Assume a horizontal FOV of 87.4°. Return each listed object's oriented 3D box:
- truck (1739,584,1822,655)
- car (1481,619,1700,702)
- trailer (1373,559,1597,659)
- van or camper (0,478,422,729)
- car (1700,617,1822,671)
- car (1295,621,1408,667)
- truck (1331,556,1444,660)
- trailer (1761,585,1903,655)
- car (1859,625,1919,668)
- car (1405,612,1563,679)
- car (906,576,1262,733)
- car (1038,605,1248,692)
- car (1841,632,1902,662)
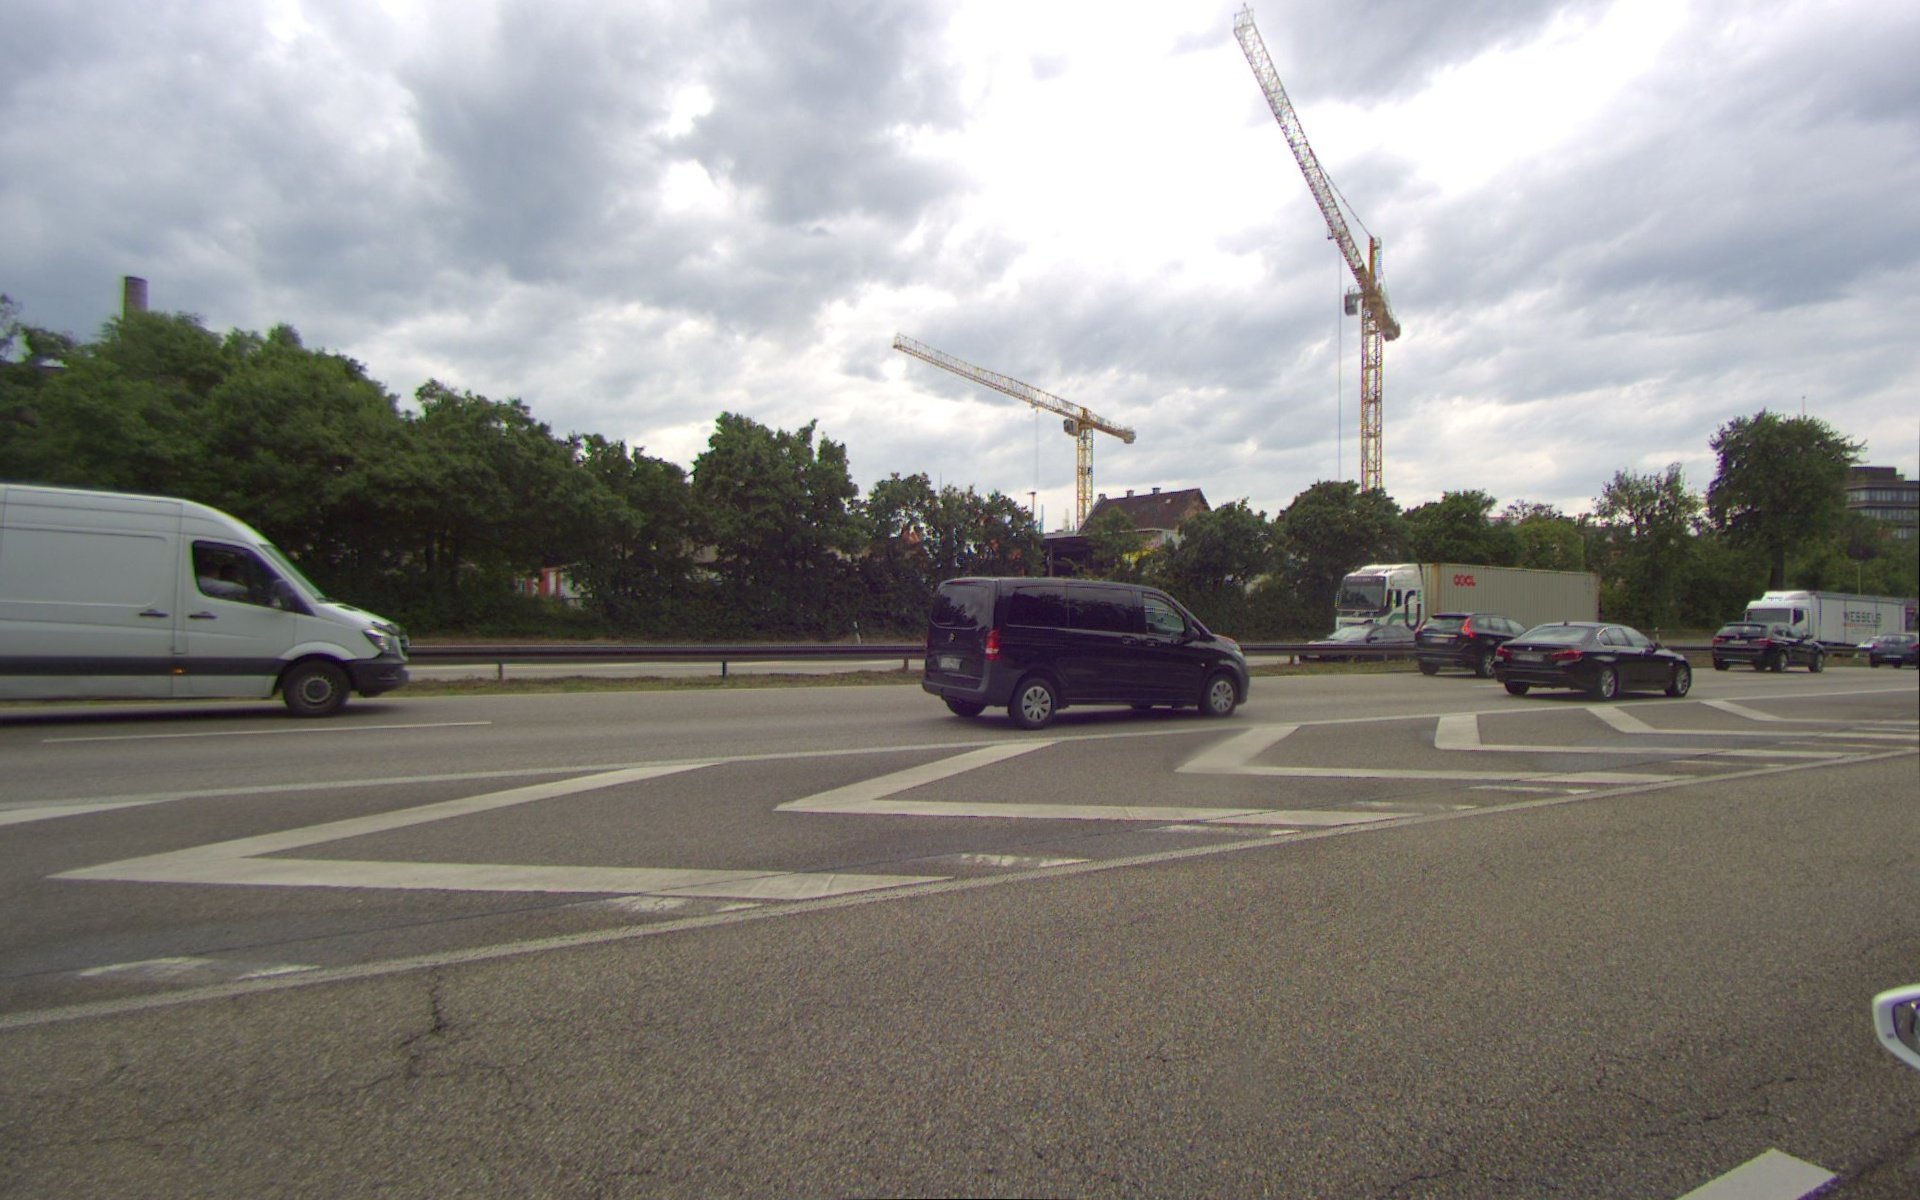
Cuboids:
[{"bbox_3d":[48.497,1.149,59.375,3.953,4.043,2.584,1,-1,-30],"label":"truck"},{"bbox_3d":[12.587,1.145,19.985,4.610,1.476,1.705,1,0,-29],"label":"car"},{"bbox_3d":[23.844,0.509,45.146,12.922,4.082,2.386,1,-1,-30],"label":"trailer"},{"bbox_3d":[-10.276,0.054,11.787,6.877,2.656,2.039,1,-1,-31],"label":"van or camper"},{"bbox_3d":[27.165,1.456,34.041,4.257,1.704,1.881,1,-1,-31],"label":"car"},{"bbox_3d":[13.395,1.484,34.315,3.719,1.483,1.679,1,-1,-30],"label":"car"},{"bbox_3d":[17.695,0.361,41.567,3.952,4.074,2.395,1,-1,-30],"label":"truck"},{"bbox_3d":[55.051,1.312,63.248,13.622,4.035,2.581,1,-1,-31],"label":"trailer"},{"bbox_3d":[39.168,1.905,41.675,3.962,1.629,1.679,1,1,-31],"label":"car"},{"bbox_3d":[13.959,1.178,26.724,4.216,1.657,1.744,1,0,-30],"label":"car"},{"bbox_3d":[1.808,0.696,14.075,4.757,1.876,1.983,1,0,-31],"label":"car"},{"bbox_3d":[3.674,0.931,20.034,3.896,1.588,1.759,1,-1,-29],"label":"car"},{"bbox_3d":[50.828,2.581,56.008,3.522,1.605,1.590,1,-1,-30],"label":"car"}]
